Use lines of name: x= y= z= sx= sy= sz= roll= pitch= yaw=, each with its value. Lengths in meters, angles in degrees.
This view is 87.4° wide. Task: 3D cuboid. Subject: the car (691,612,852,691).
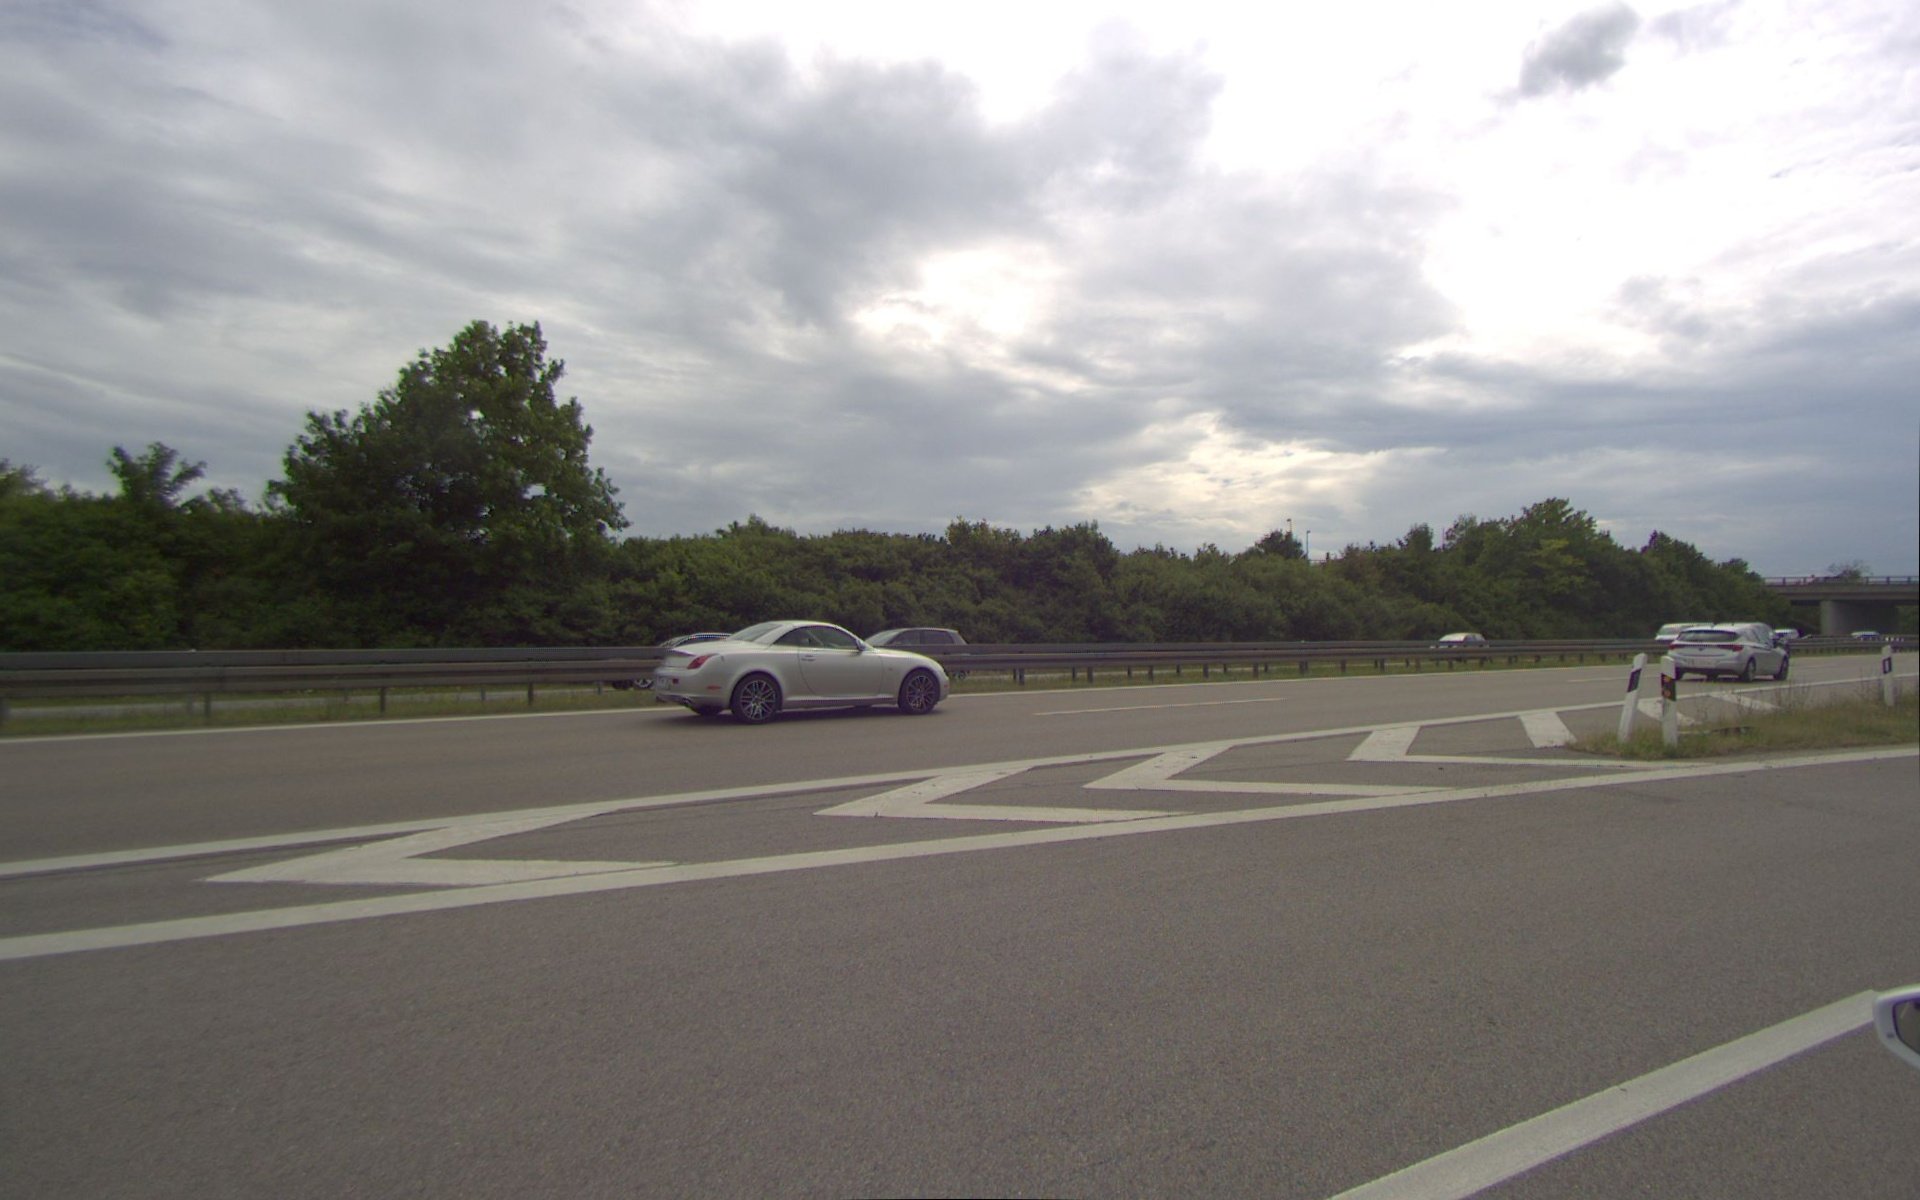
car: x=-5.249 y=1.404 z=28.196 sx=3.965 sy=2.040 sz=1.978 roll=2 pitch=0 yaw=-38

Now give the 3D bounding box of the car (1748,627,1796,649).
car: x=63.243 y=2.949 z=78.220 sx=3.962 sy=1.673 sz=1.979 roll=1 pitch=-2 yaw=-37

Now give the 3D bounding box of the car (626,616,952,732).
car: x=-2.336 y=0.962 z=14.316 sx=4.266 sy=1.417 sz=1.767 roll=1 pitch=-1 yaw=-37

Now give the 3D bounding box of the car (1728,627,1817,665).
car: x=31.725 y=1.759 z=39.181 sx=4.267 sy=1.417 sz=1.767 roll=1 pitch=-1 yaw=-38

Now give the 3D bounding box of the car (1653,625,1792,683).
car: x=20.236 y=1.383 z=26.639 sx=3.987 sy=1.417 sz=1.769 roll=1 pitch=-1 yaw=-34
